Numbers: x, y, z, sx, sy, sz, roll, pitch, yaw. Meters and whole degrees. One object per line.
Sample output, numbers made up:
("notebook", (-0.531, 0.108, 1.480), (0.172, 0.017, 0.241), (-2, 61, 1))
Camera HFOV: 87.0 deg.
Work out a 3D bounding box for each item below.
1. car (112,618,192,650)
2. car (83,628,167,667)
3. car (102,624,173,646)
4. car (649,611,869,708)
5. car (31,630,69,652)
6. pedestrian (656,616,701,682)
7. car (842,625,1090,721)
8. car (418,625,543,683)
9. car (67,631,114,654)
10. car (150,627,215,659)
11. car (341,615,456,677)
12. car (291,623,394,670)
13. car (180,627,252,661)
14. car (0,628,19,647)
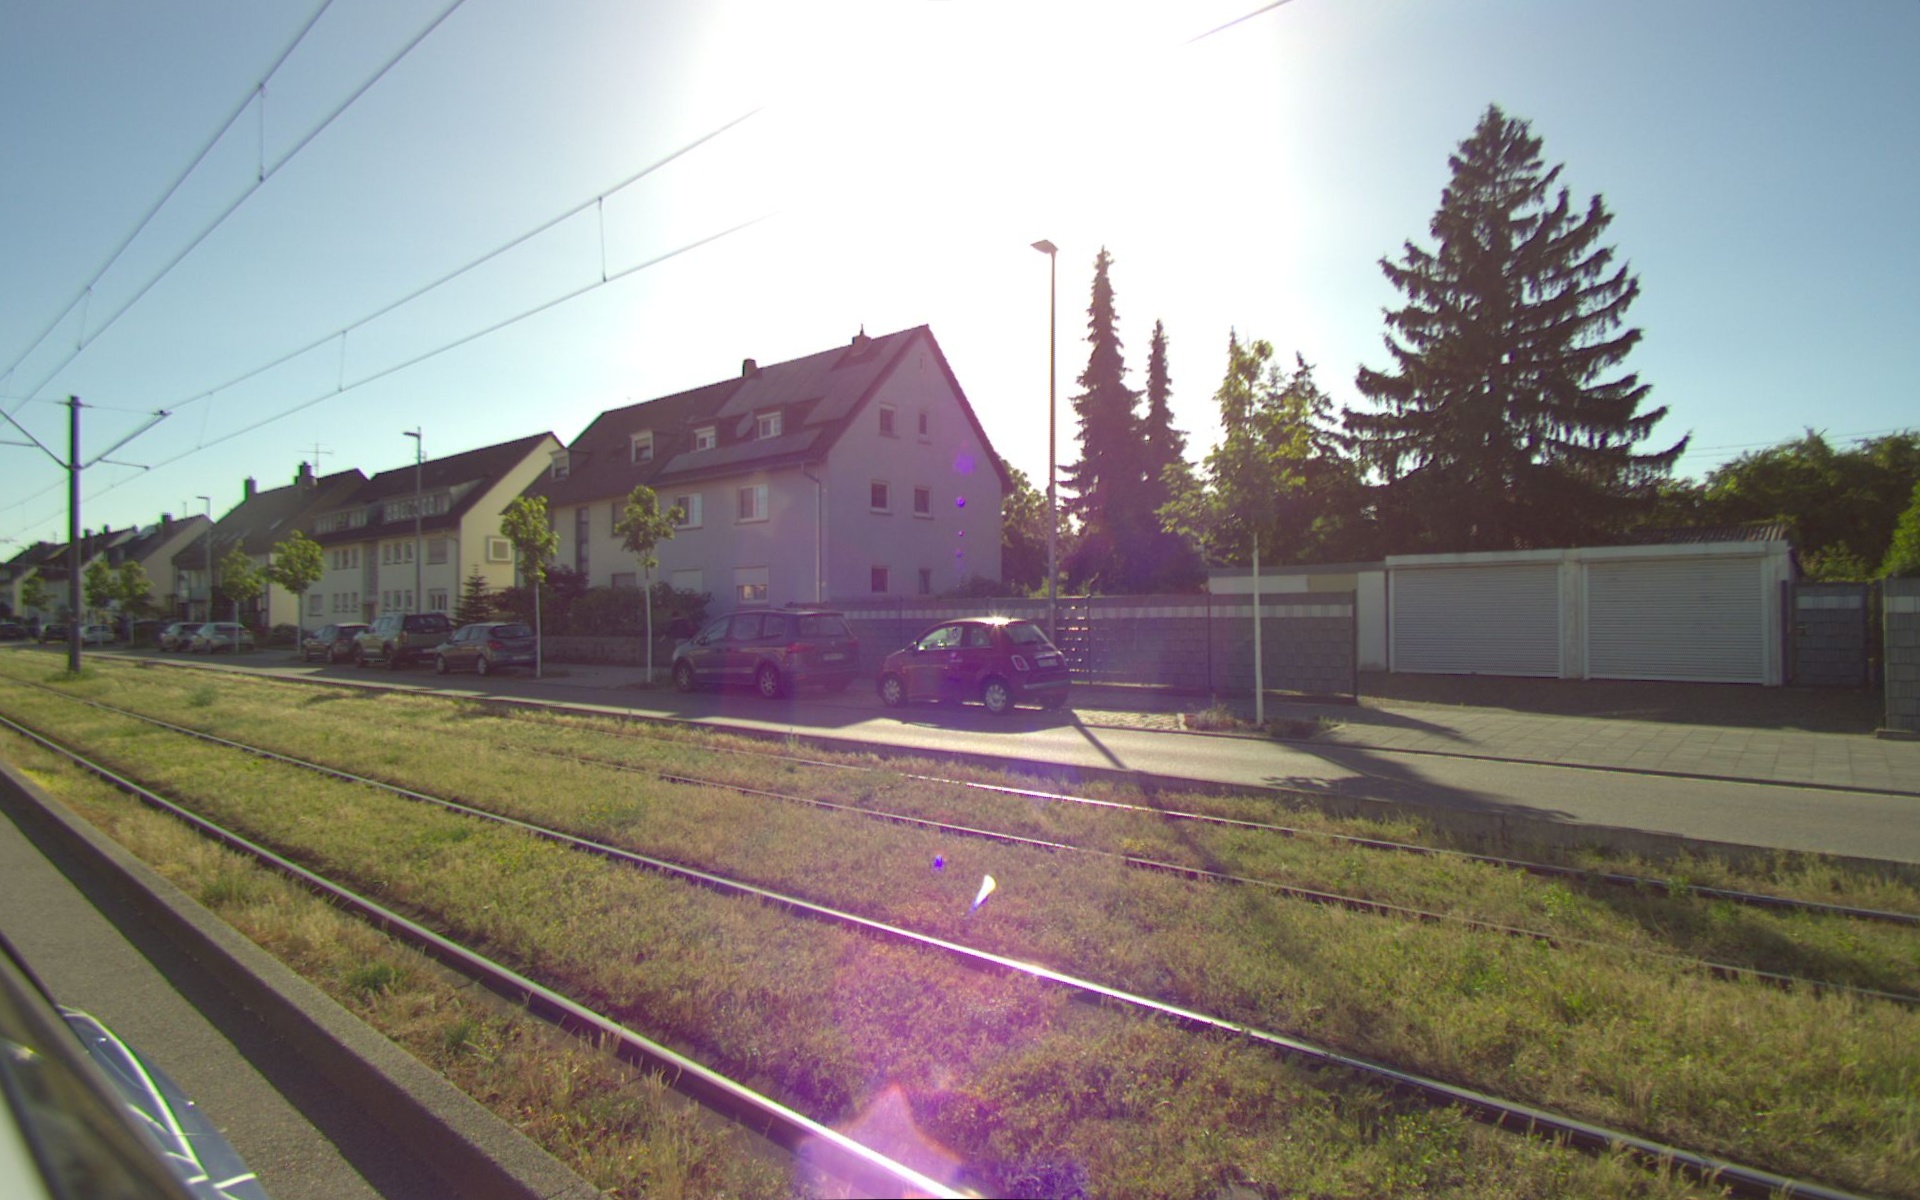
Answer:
("car", (-60.733, 2.505, 76.111), (1.786, 2.096, 4.416), (-1, 2, 40))
("car", (-36.631, 2.085, 44.369), (4.321, 1.614, 1.839), (-1, -4, 37))
("car", (-69.347, 2.949, 85.336), (1.968, 1.797, 4.349), (-2, -2, 39))
("car", (-4.175, 1.130, 20.547), (4.844, 1.697, 1.800), (-1, 0, 42))
("car", (-67.311, 3.029, 74.855), (4.082, 1.523, 1.602), (-2, 0, 41))
("pedestrian", (-7.215, 1.240, 25.918), (0.919, 1.652, 0.689), (-1, 0, 39))
("car", (0.011, 1.143, 17.004), (4.077, 1.415, 1.677), (-2, -2, 42))
("car", (-13.914, 1.509, 29.279), (4.045, 1.502, 1.660), (-1, 0, 39))
("car", (-57.421, 2.773, 66.825), (4.099, 1.447, 1.642), (-2, -1, 39))
("car", (-39.903, 2.187, 51.919), (4.310, 1.484, 1.672), (-1, 0, 39))
("car", (-18.441, 1.449, 33.148), (4.839, 1.836, 1.727), (-1, 0, 41))
("car", (-22.889, 1.683, 37.453), (4.554, 1.552, 1.940), (-1, 0, 41))
("car", (-35.341, 2.045, 48.035), (4.438, 1.486, 1.672), (-1, 0, 39))
("car", (-84.021, 3.260, 88.472), (4.853, 1.572, 1.902), (-1, 0, 39))
